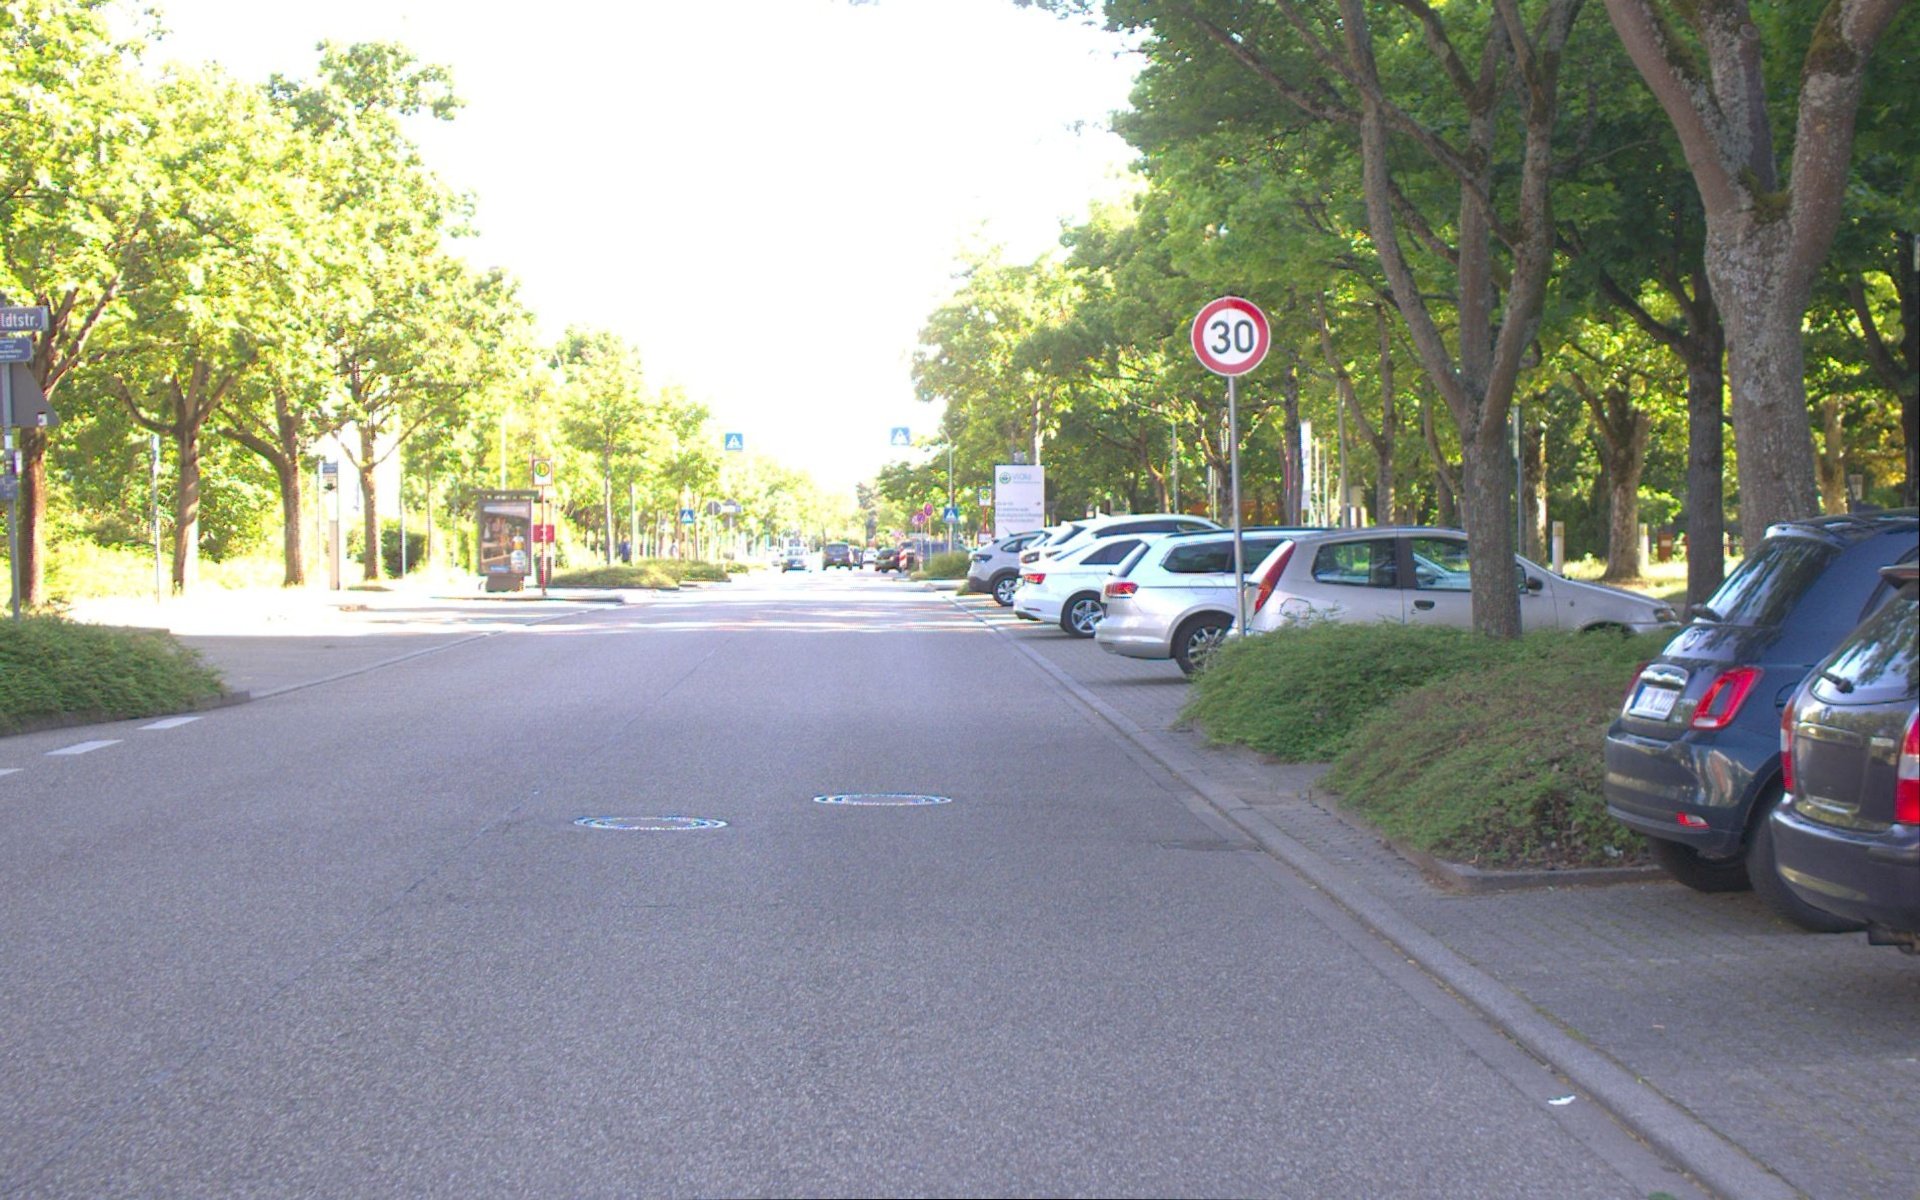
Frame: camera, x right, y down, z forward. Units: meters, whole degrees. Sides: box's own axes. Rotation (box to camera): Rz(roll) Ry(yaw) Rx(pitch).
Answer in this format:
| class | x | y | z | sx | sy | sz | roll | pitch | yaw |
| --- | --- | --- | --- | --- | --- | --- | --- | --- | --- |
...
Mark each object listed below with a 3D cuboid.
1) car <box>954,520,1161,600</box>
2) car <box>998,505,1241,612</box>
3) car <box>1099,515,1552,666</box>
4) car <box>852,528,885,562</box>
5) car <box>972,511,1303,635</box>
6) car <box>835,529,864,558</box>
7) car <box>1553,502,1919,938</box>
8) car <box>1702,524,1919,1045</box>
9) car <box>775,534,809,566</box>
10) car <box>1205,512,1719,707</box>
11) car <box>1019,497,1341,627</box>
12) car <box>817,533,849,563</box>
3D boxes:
| class | x | y | z | sx | sy | sz | roll | pitch | yaw |
| --- | --- | --- | --- | --- | --- | --- | --- | --- | --- |
| car | 2.007 | -0.842 | 71.786 | 4.164 | 1.423 | 2.000 | -3 | 1 | -1 |
| car | 2.530 | -0.682 | 55.018 | 3.688 | 1.517 | 1.651 | -3 | 2 | -3 |
| car | 3.508 | -0.112 | 33.509 | 4.275 | 1.423 | 1.827 | 0 | 1 | 3 |
| car | -5.616 | -3.387 | 211.346 | 1.993 | 2.007 | 4.000 | 1 | 1 | -1 |
| car | 2.412 | -0.383 | 47.424 | 4.342 | 1.484 | 1.738 | -3 | 1 | -3 |
| car | -7.902 | -4.049 | 246.911 | 1.993 | 2.007 | 4.000 | 1 | 1 | -1 |
| car | 4.373 | 0.347 | 13.102 | 3.808 | 1.494 | 1.702 | -2 | 1 | -4 |
| car | 4.457 | 0.400 | 10.321 | 3.987 | 1.382 | 1.822 | -3 | 1 | -1 |
| car | -9.600 | -2.878 | 196.504 | 1.828 | 1.769 | 3.740 | 1 | 1 | -1 |
| car | 4.132 | 0.053 | 28.719 | 3.987 | 1.446 | 1.717 | -2 | 1 | -1 |
| car | 3.171 | -0.570 | 50.137 | 4.434 | 1.642 | 1.816 | -3 | 2 | -3 |
| car | -8.418 | -3.471 | 228.445 | 1.993 | 2.007 | 4.000 | 1 | 1 | -1 |
